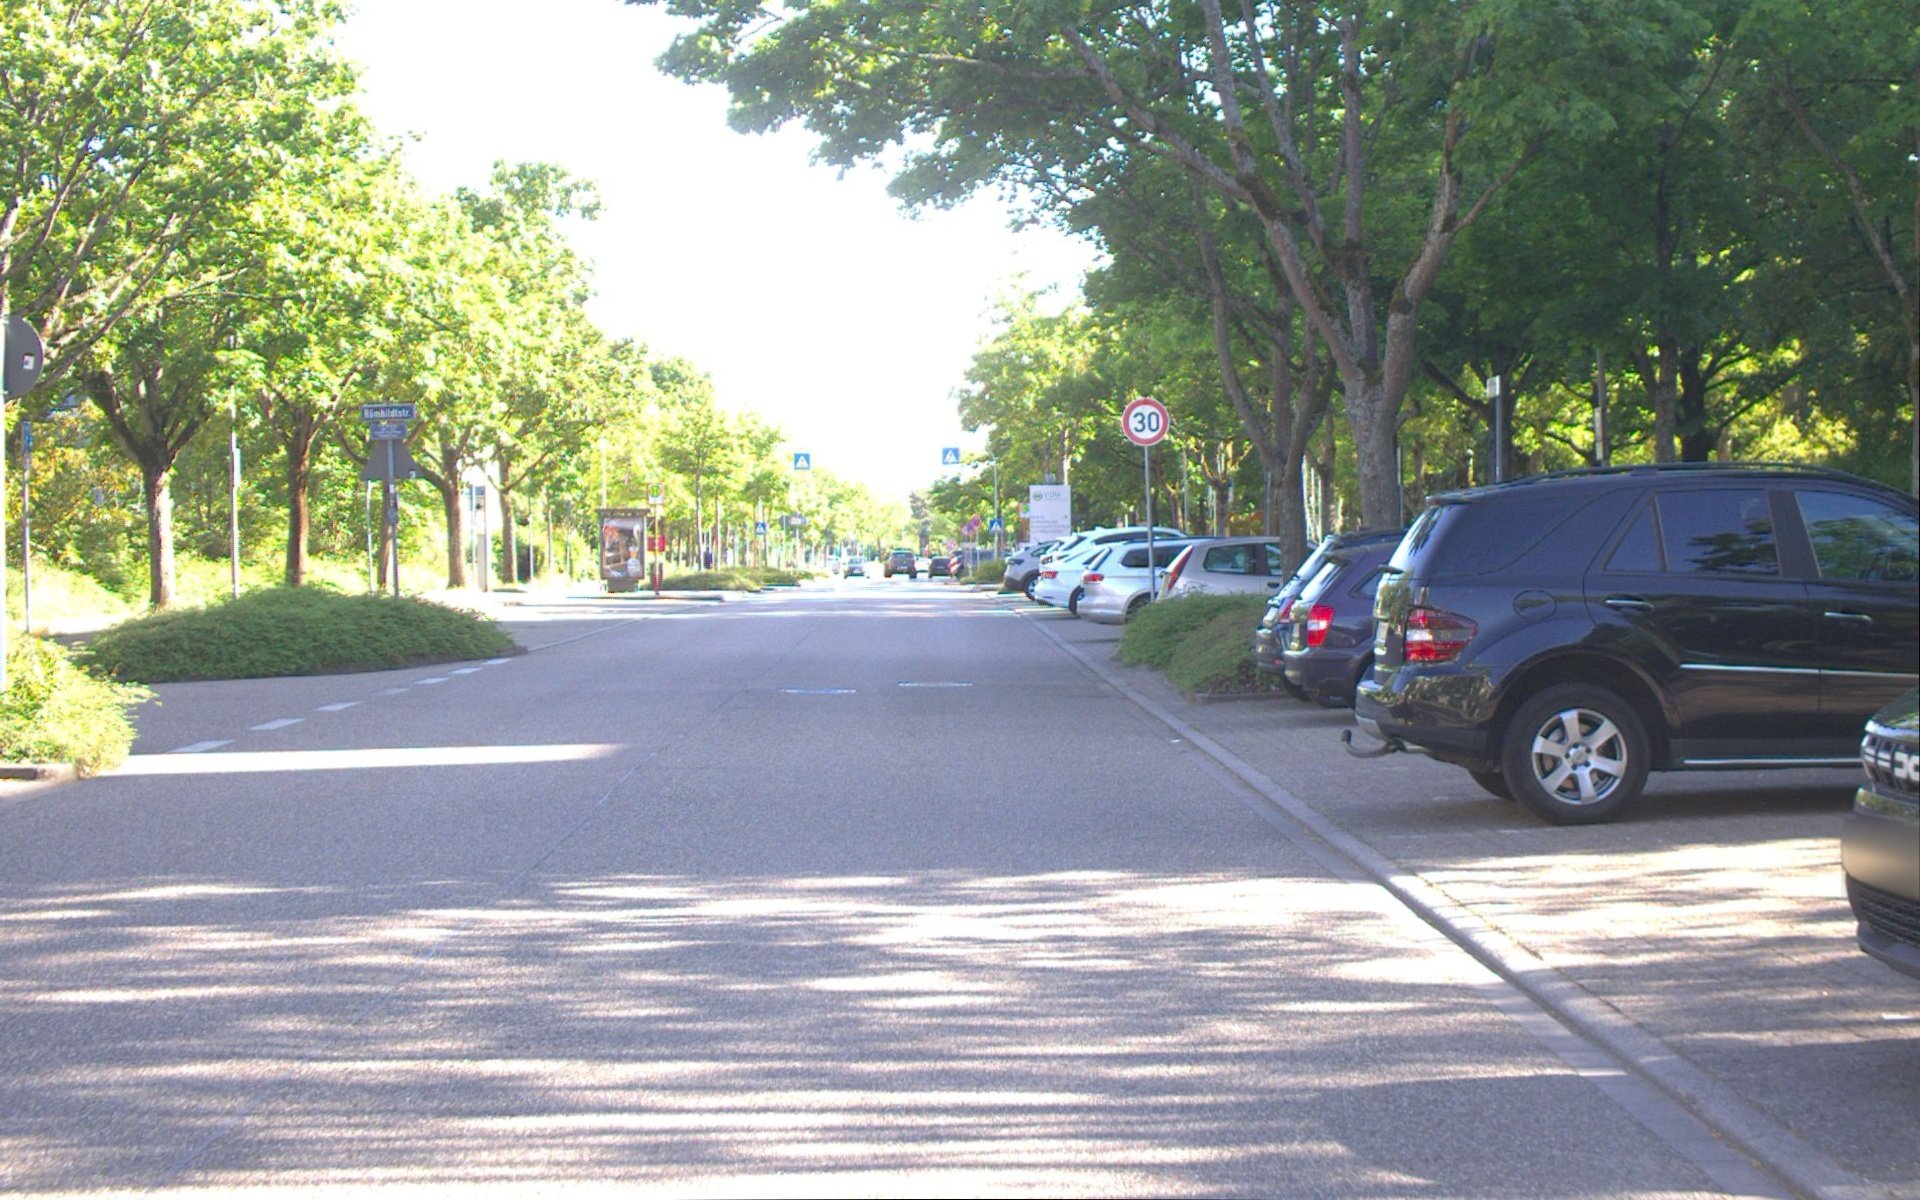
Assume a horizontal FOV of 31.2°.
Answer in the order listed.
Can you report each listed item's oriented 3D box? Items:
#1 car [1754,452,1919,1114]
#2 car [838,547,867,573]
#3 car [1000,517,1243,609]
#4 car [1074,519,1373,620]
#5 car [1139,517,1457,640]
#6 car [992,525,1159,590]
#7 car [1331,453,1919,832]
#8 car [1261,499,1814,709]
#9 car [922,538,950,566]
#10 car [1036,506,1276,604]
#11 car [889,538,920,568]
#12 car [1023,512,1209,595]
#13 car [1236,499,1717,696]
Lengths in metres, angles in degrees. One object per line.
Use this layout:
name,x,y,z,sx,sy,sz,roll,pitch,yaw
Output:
car,4.359,0.374,8.910,4.118,1.612,1.734,-2,0,-2
car,-7.233,-2.692,230.976,1.828,1.769,3.740,0,1,0
car,2.998,-0.697,64.273,4.342,1.484,1.738,-3,1,-2
car,3.832,-0.450,50.162,4.275,1.423,1.827,0,1,4
car,4.438,-0.305,45.572,3.987,1.446,1.717,-2,1,0
car,2.958,-1.107,88.638,4.164,1.423,2.000,-3,1,0
car,4.370,0.158,17.927,4.587,1.773,2.000,-2,1,0
car,4.488,0.007,27.143,3.987,1.382,1.822,-3,1,0
car,-1.677,-3.381,241.622,1.993,2.007,4.000,0,1,0
car,3.797,-0.881,66.973,4.435,1.642,1.816,-3,1,-2
car,-3.766,-3.187,233.956,1.993,2.007,4.000,0,1,0
car,3.231,-0.981,71.814,3.688,1.517,1.651,-3,1,-2
car,4.446,-0.040,29.924,3.808,1.494,1.702,-3,1,-3
